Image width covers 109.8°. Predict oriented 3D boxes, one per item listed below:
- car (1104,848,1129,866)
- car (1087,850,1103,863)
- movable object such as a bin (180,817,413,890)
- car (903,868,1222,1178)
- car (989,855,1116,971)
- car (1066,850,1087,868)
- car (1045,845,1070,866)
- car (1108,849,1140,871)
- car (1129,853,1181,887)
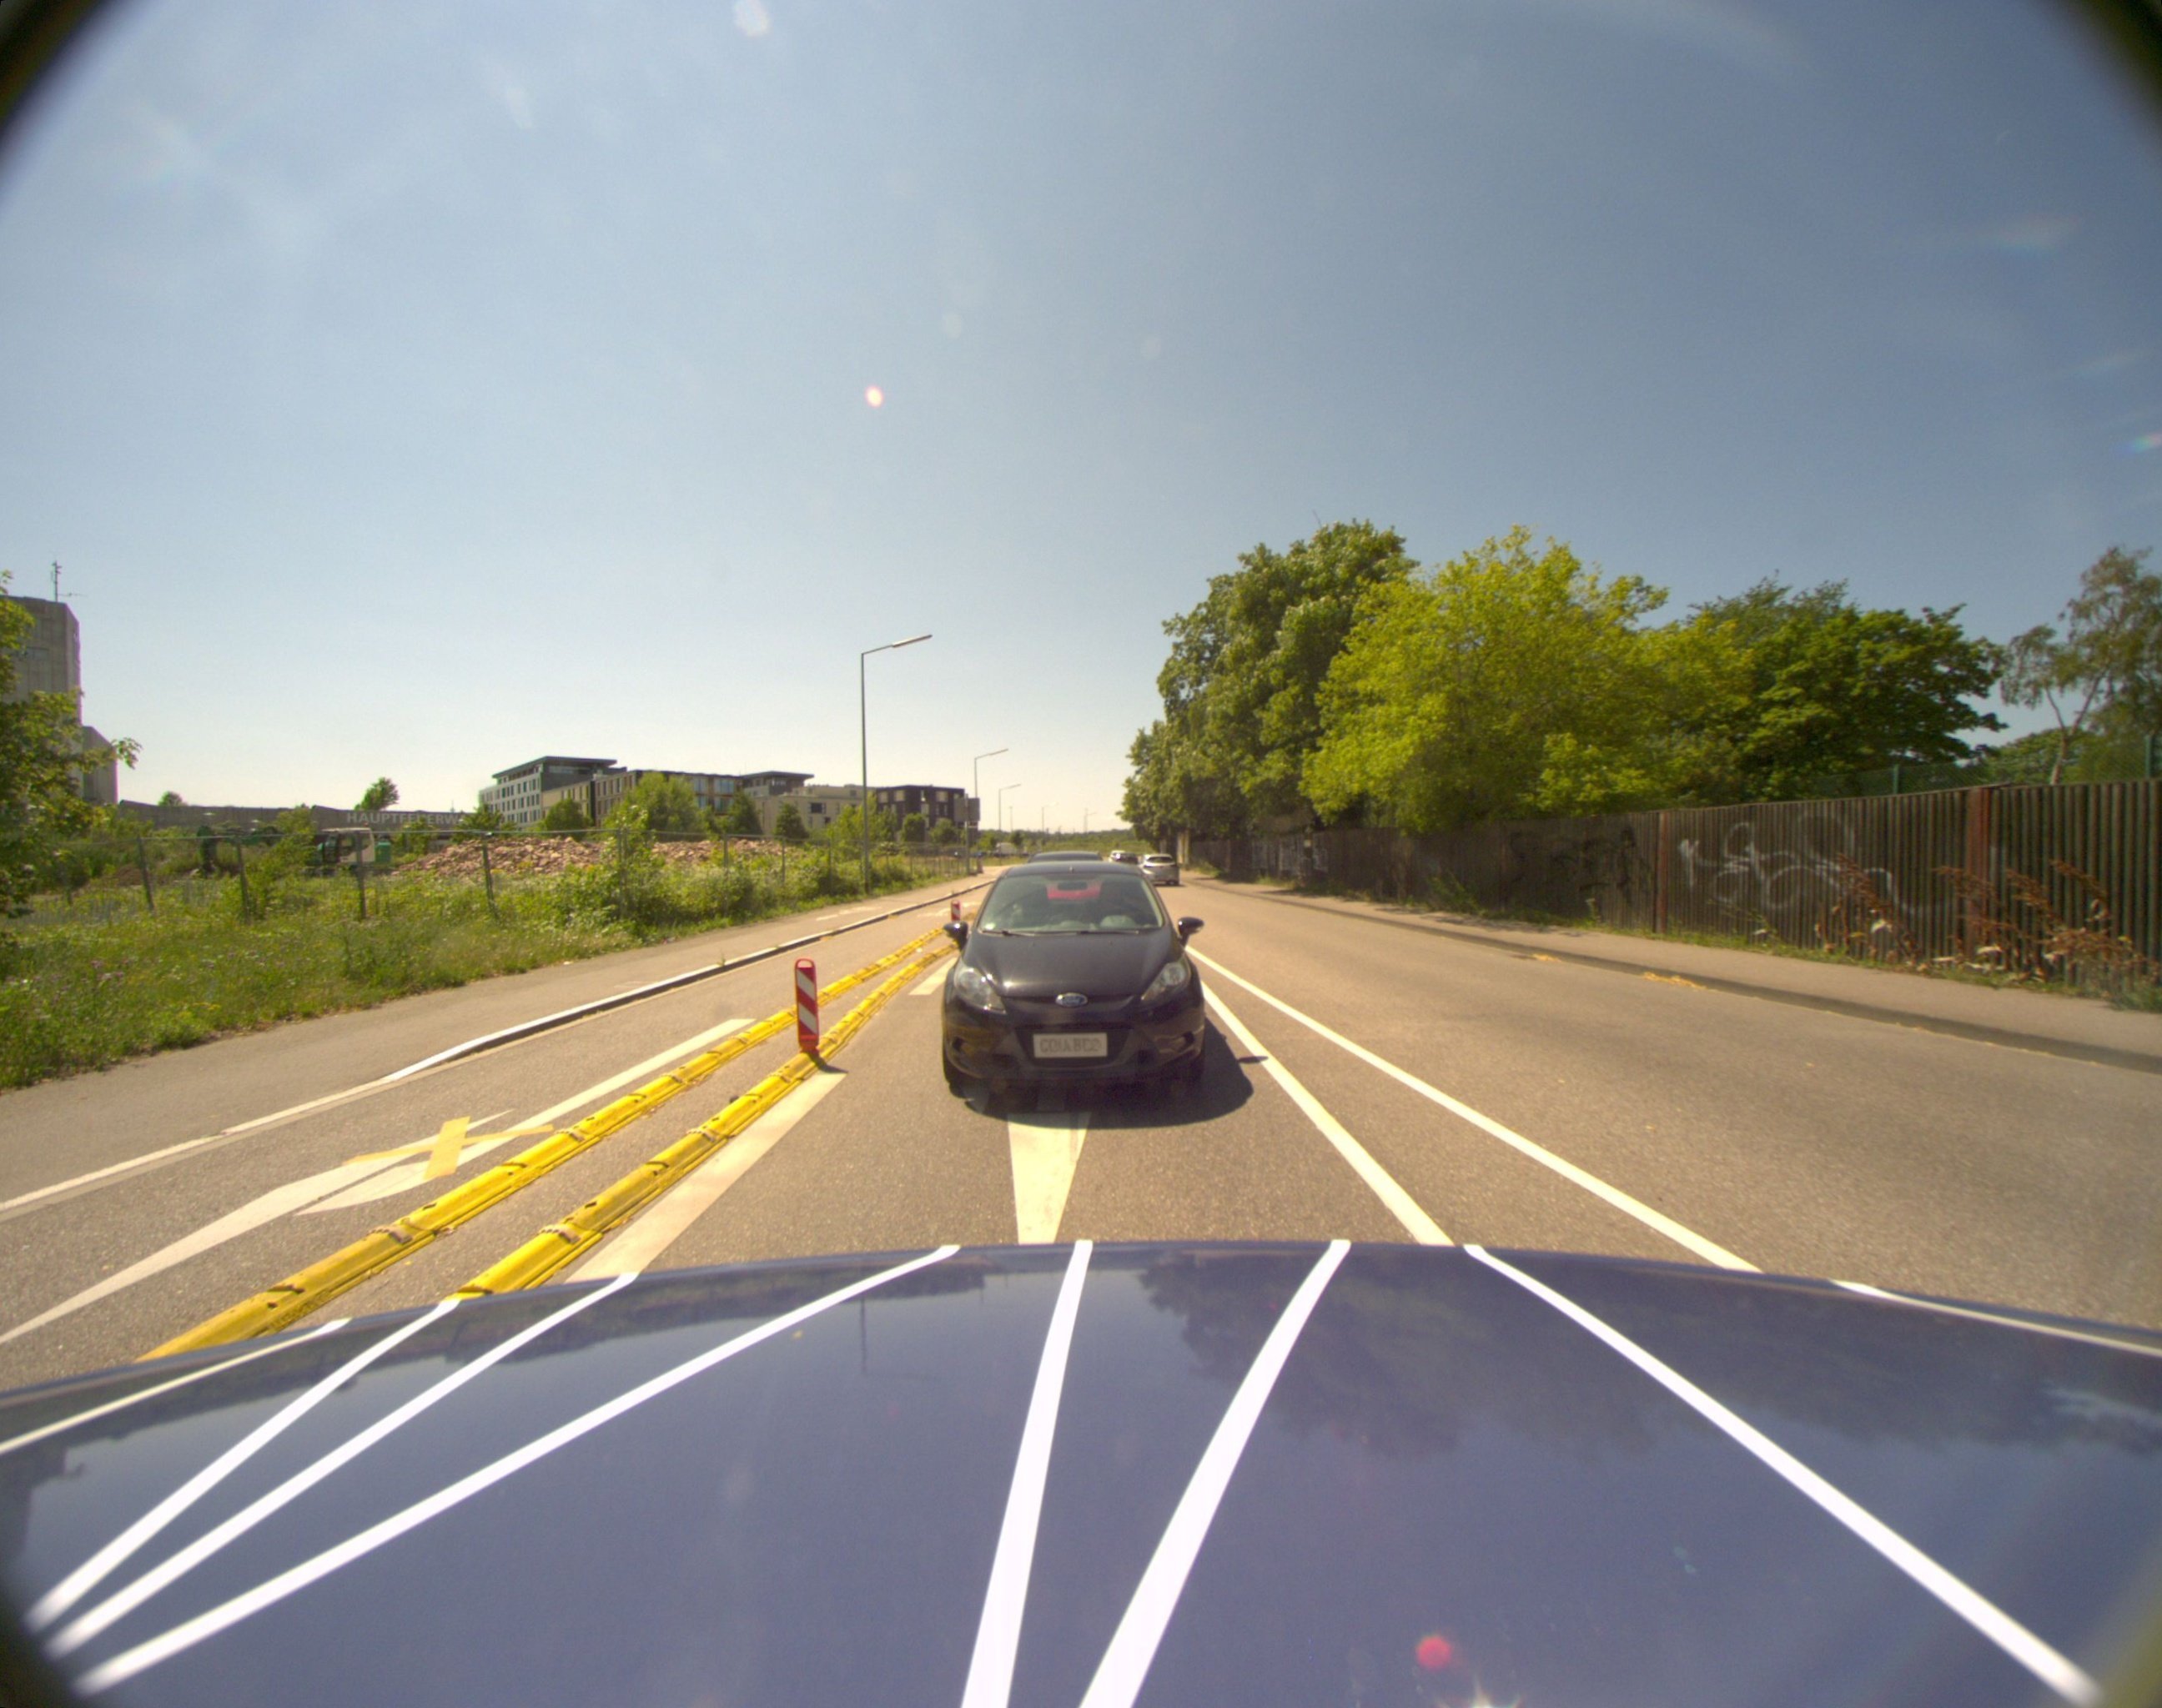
[{"bbox_3d":[3.153,0.259,67.594,1.759,1.477,3.692,-1,0,-5],"label":"car"},{"bbox_3d":[1.690,0.253,92.096,1.759,1.536,3.693,-1,0,-2],"label":"car"},{"bbox_3d":[-37.984,-0.111,37.334,2.810,3.131,7.608,-2,1,8],"label":"movable object such as a bin"},{"bbox_3d":[-0.071,0.913,5.831,1.632,1.499,3.819,-1,0,1],"label":"car"},{"bbox_3d":[-0.361,0.810,12.441,1.720,1.518,4.211,-1,0,1],"label":"car"},{"bbox_3d":[-0.446,0.452,69.074,1.759,1.536,3.693,-1,0,-2],"label":"car"},{"bbox_3d":[-1.776,0.113,57.219,1.759,1.536,3.693,-1,0,-2],"label":"car"},{"bbox_3d":[3.059,0.423,54.344,1.759,1.477,3.692,-1,0,-5],"label":"car"},{"bbox_3d":[3.343,0.688,35.039,1.719,1.455,3.841,1,0,-5],"label":"car"}]
